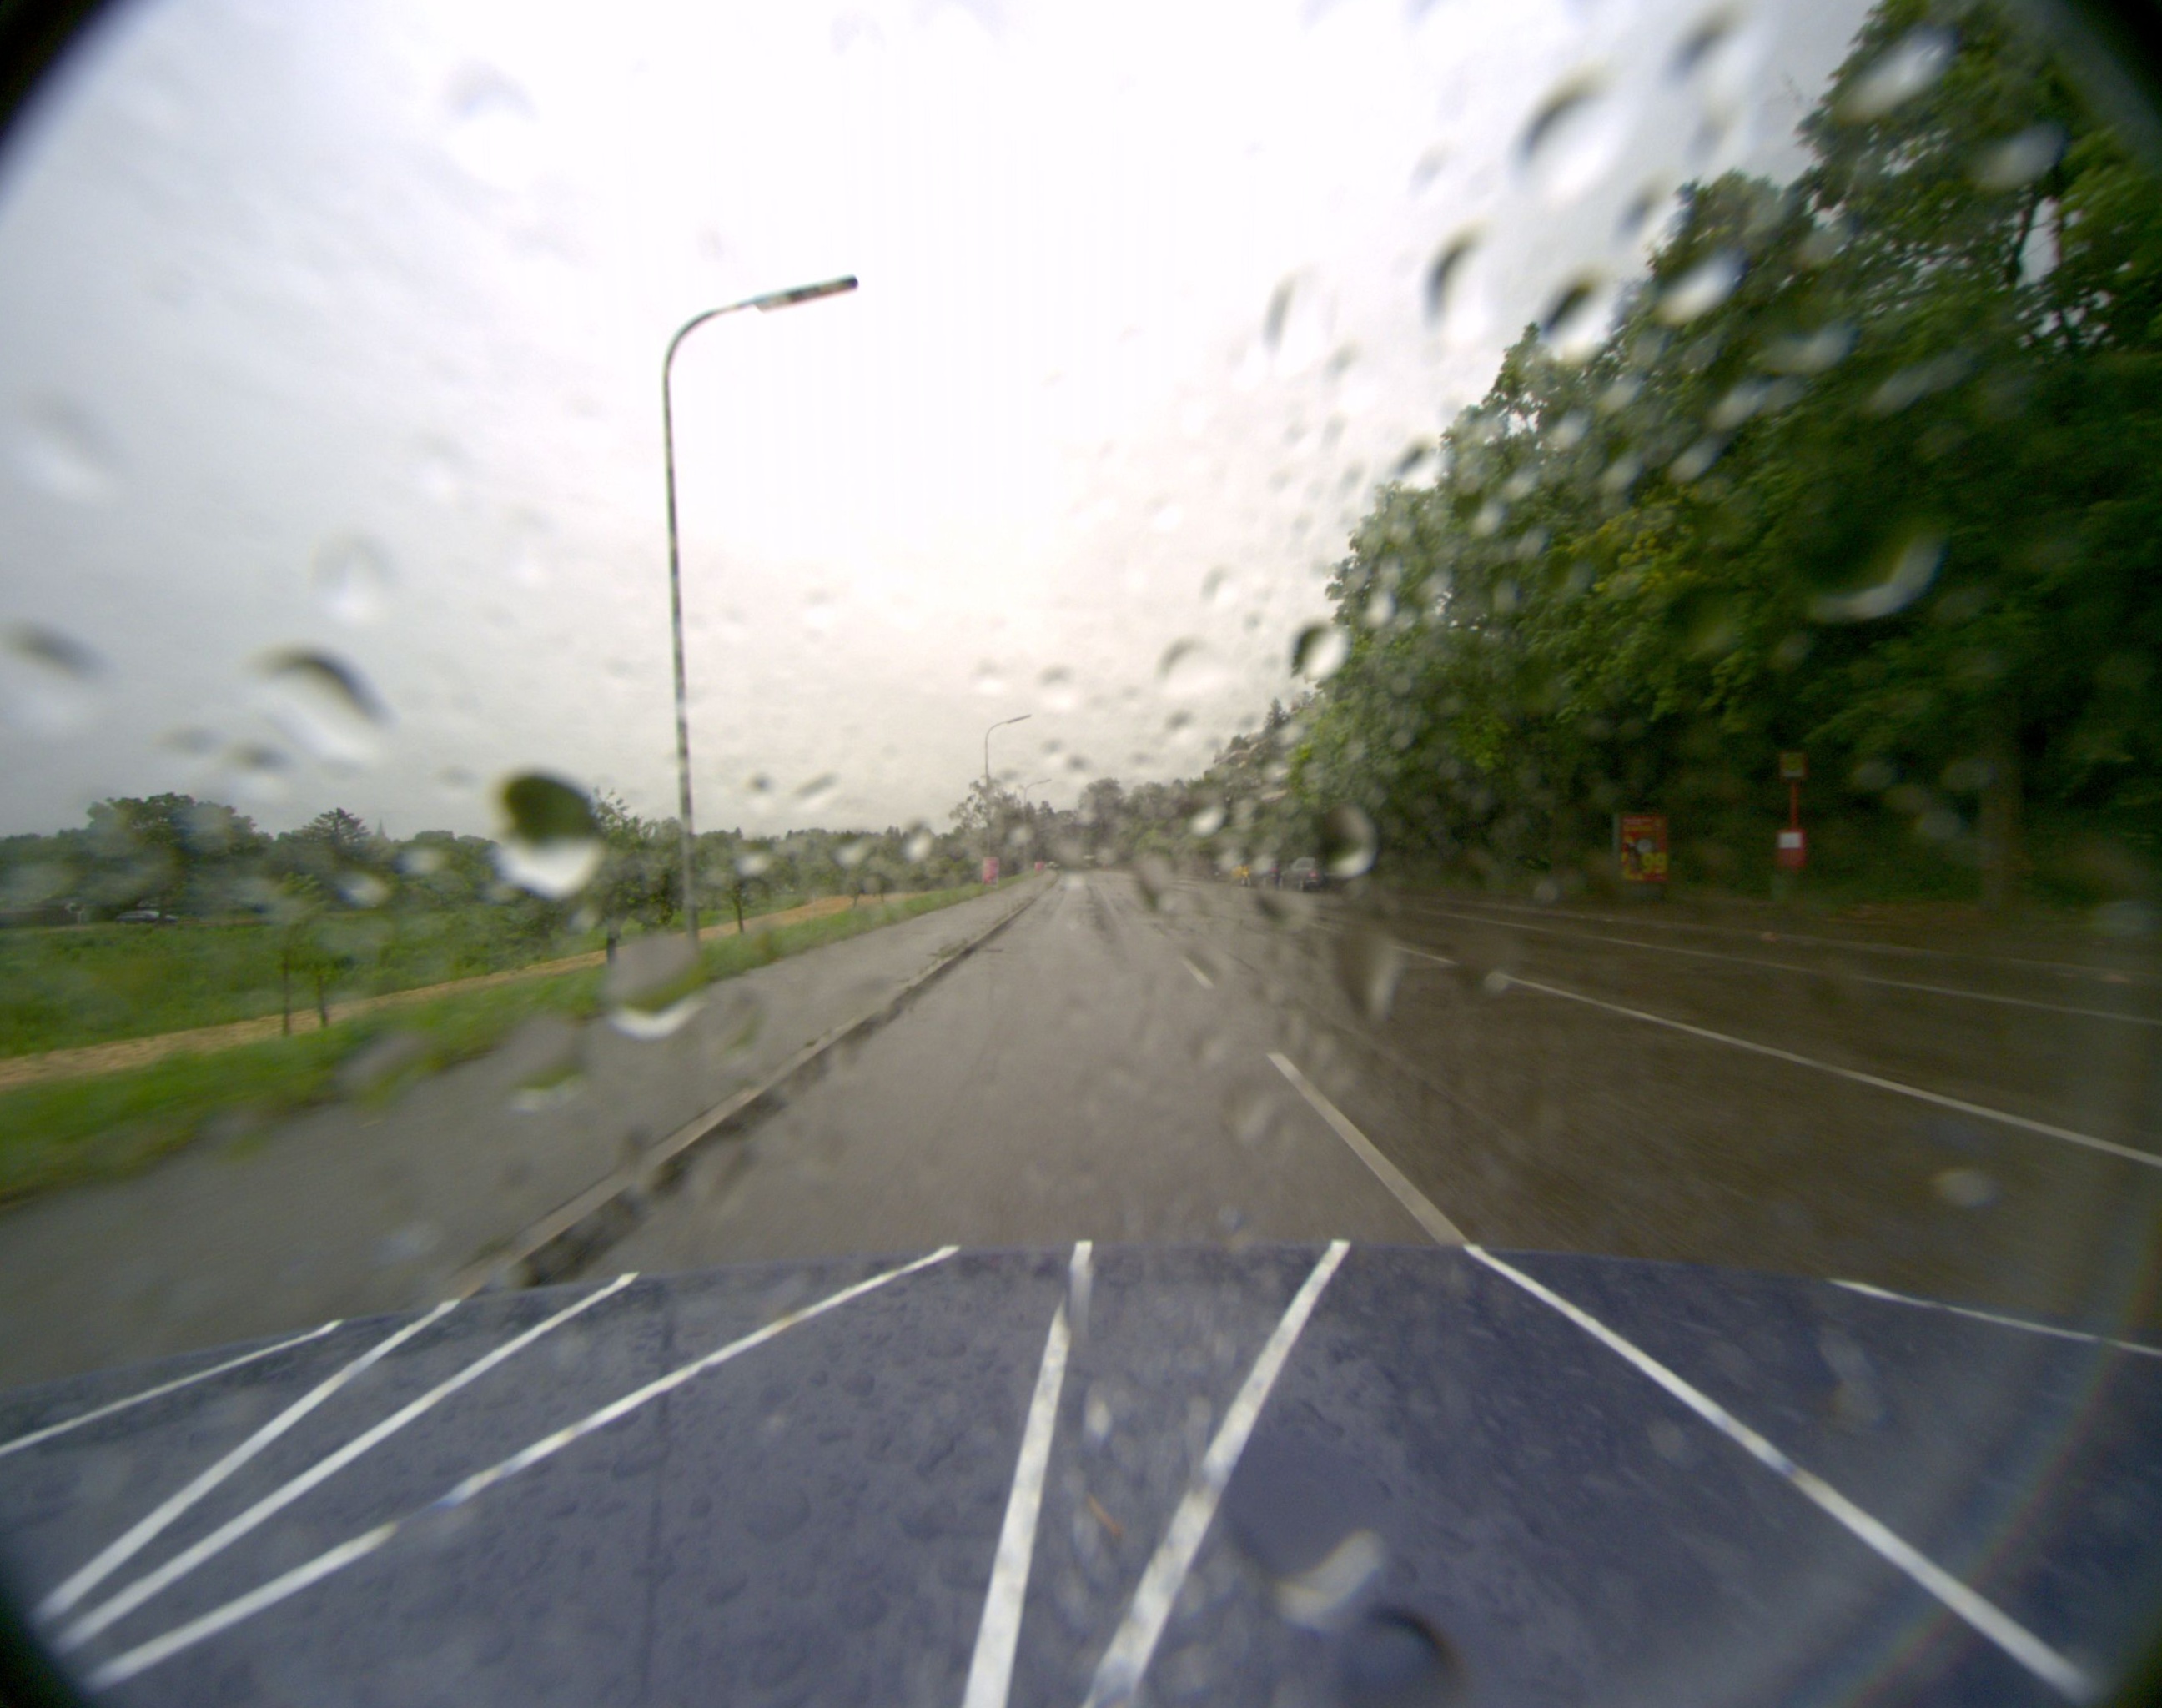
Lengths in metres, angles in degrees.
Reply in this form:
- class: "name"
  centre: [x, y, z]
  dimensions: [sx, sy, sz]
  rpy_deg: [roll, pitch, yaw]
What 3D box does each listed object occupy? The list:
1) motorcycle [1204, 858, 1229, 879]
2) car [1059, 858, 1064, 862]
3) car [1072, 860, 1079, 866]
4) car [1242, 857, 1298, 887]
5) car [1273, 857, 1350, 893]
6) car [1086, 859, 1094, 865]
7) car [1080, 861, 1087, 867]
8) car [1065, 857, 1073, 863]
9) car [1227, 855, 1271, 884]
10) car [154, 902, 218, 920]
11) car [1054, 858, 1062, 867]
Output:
- class: "motorcycle"
  centre: [8.754, 0.934, 49.220]
  dimensions: [0.840, 1.333, 2.497]
  rpy_deg: [-1, 0, -7]
- class: "car"
  centre: [-6.421, 1.944, 251.802]
  dimensions: [1.597, 1.433, 3.704]
  rpy_deg: [0, 0, -3]
- class: "car"
  centre: [-1.797, 2.745, 233.719]
  dimensions: [1.853, 1.583, 3.704]
  rpy_deg: [-2, -1, -3]
- class: "car"
  centre: [9.480, 0.878, 38.398]
  dimensions: [1.437, 1.411, 4.102]
  rpy_deg: [-1, 0, -5]
- class: "car"
  centre: [9.932, 0.869, 33.116]
  dimensions: [1.691, 1.411, 4.740]
  rpy_deg: [-1, 0, -3]
- class: "car"
  centre: [2.369, 2.068, 197.012]
  dimensions: [1.853, 1.583, 3.704]
  rpy_deg: [-2, -1, -3]
- class: "car"
  centre: [0.791, 2.814, 216.515]
  dimensions: [1.853, 1.583, 3.704]
  rpy_deg: [-2, -1, -3]
- class: "car"
  centre: [-4.132, 2.036, 254.099]
  dimensions: [1.855, 2.137, 3.701]
  rpy_deg: [-2, -1, -13]
- class: "car"
  centre: [9.317, 0.857, 42.327]
  dimensions: [1.438, 1.528, 2.817]
  rpy_deg: [-1, 0, -9]
- class: "car"
  centre: [-91.030, 5.781, 77.320]
  dimensions: [3.999, 1.501, 1.799]
  rpy_deg: [-2, 1, -7]
- class: "car"
  centre: [-5.650, 2.112, 187.851]
  dimensions: [1.999, 2.001, 4.000]
  rpy_deg: [-1, -1, -2]
